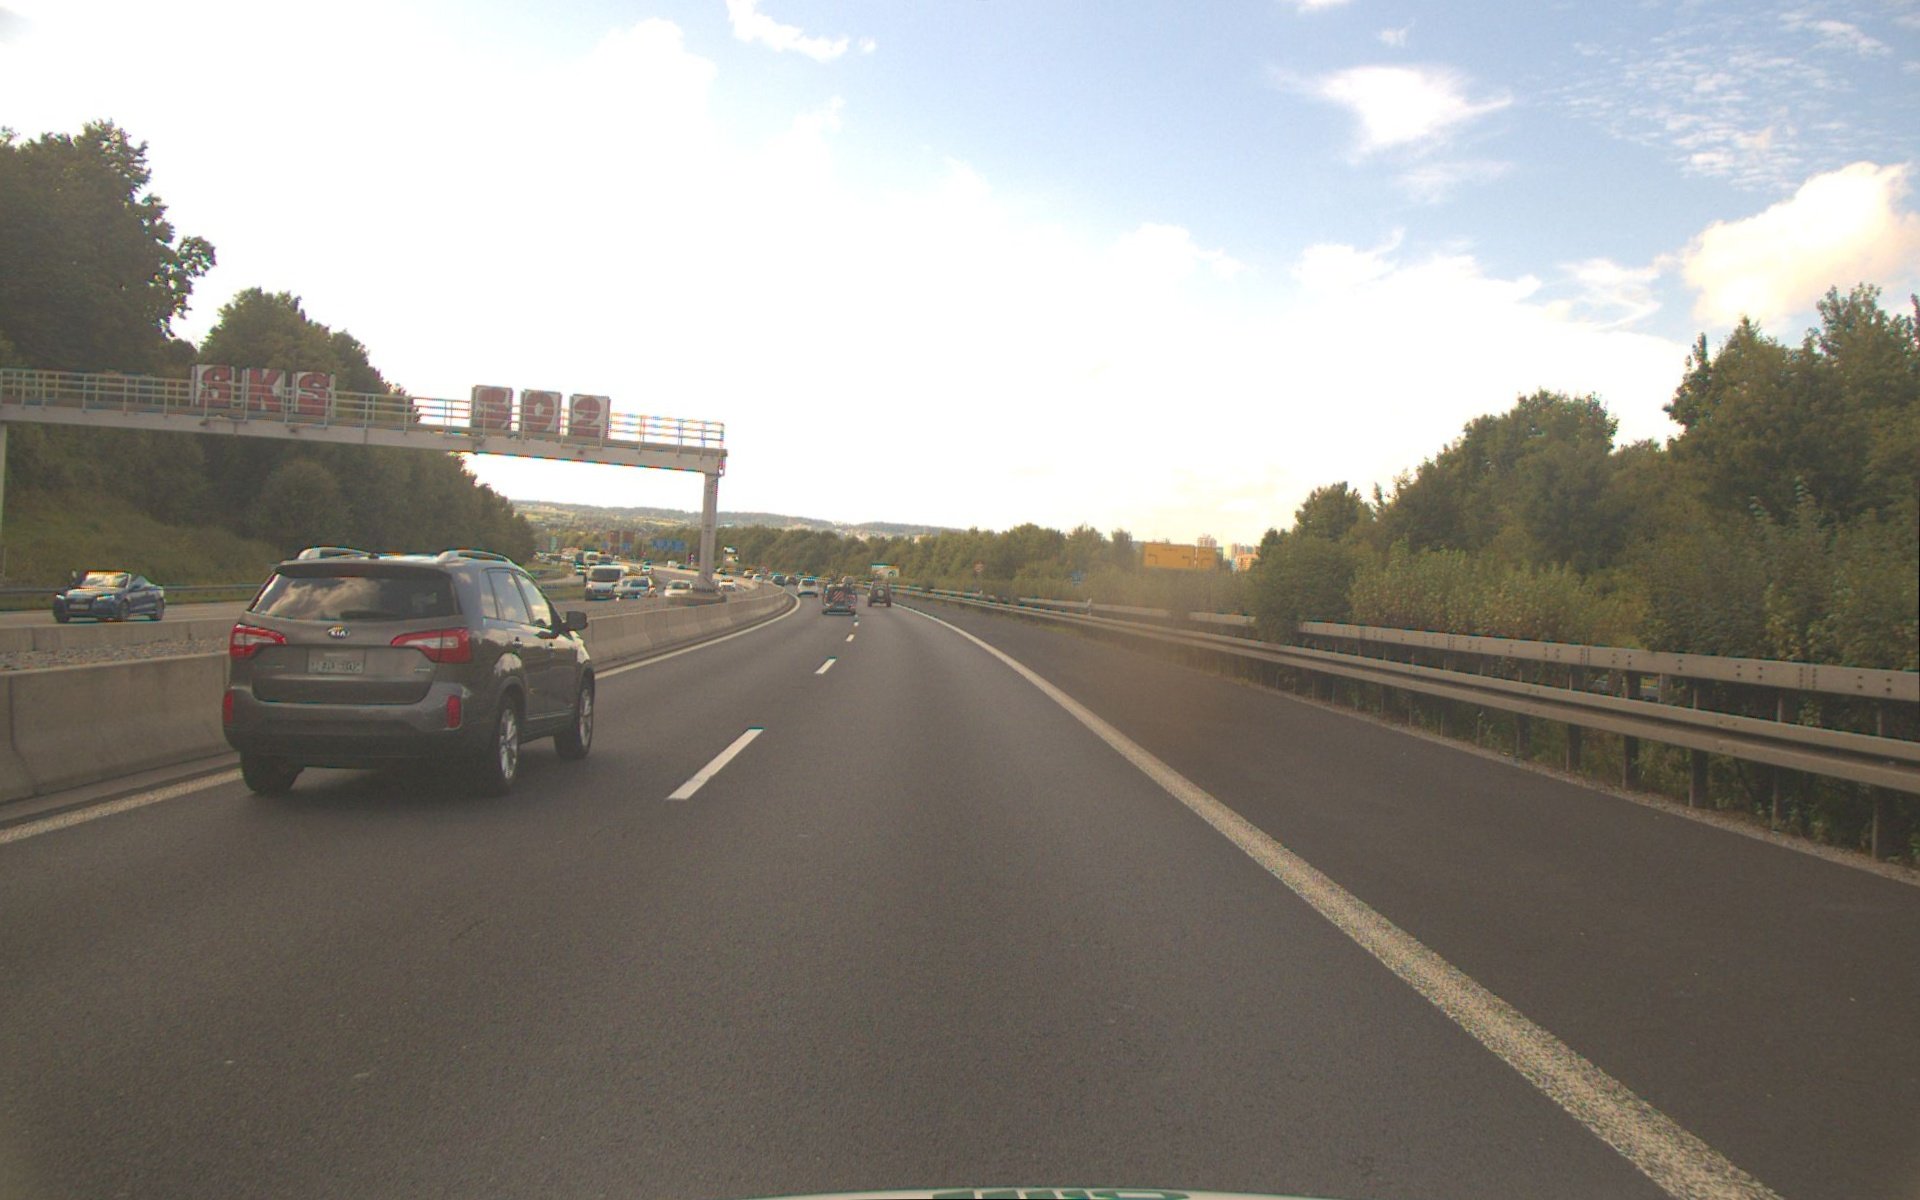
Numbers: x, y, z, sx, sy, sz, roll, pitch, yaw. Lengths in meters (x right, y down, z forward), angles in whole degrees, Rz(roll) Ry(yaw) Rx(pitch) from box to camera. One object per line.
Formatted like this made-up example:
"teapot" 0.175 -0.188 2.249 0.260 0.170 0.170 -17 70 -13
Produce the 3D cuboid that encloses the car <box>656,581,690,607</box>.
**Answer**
"car" -17.122 -0.356 98.757 1.534 1.475 3.886 1 0 -4

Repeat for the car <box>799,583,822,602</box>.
"car" -14.420 -0.690 159.625 1.956 1.713 3.992 1 0 -8

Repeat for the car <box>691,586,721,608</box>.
"car" -20.058 -0.255 130.790 1.954 1.669 3.998 1 0 -3

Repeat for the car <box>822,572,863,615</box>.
"car" -6.163 -0.358 87.423 1.990 2.189 3.999 1 1 -2

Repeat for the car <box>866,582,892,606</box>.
"car" -5.759 -0.419 116.840 1.556 1.624 4.090 1 1 -6

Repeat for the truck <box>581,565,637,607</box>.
"truck" -20.081 -0.789 94.806 2.140 2.264 5.569 1 0 -2

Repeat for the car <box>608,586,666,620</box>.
"car" -15.735 0.131 80.868 1.953 1.563 5.283 1 0 -2

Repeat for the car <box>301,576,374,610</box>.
"car" -25.809 -0.318 68.683 1.787 1.334 4.183 1 0 -5

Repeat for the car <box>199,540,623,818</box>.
"car" -4.074 0.493 13.289 1.781 1.766 5.185 1 0 -2

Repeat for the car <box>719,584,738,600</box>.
"car" -25.254 -0.862 180.463 1.729 1.608 4.928 2 0 -4

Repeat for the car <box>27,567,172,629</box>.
"car" -23.942 -0.069 46.213 1.768 1.601 4.557 1 0 -2

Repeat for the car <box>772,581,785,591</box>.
"car" -28.259 -2.189 257.709 1.577 1.585 3.986 1 0 -14
